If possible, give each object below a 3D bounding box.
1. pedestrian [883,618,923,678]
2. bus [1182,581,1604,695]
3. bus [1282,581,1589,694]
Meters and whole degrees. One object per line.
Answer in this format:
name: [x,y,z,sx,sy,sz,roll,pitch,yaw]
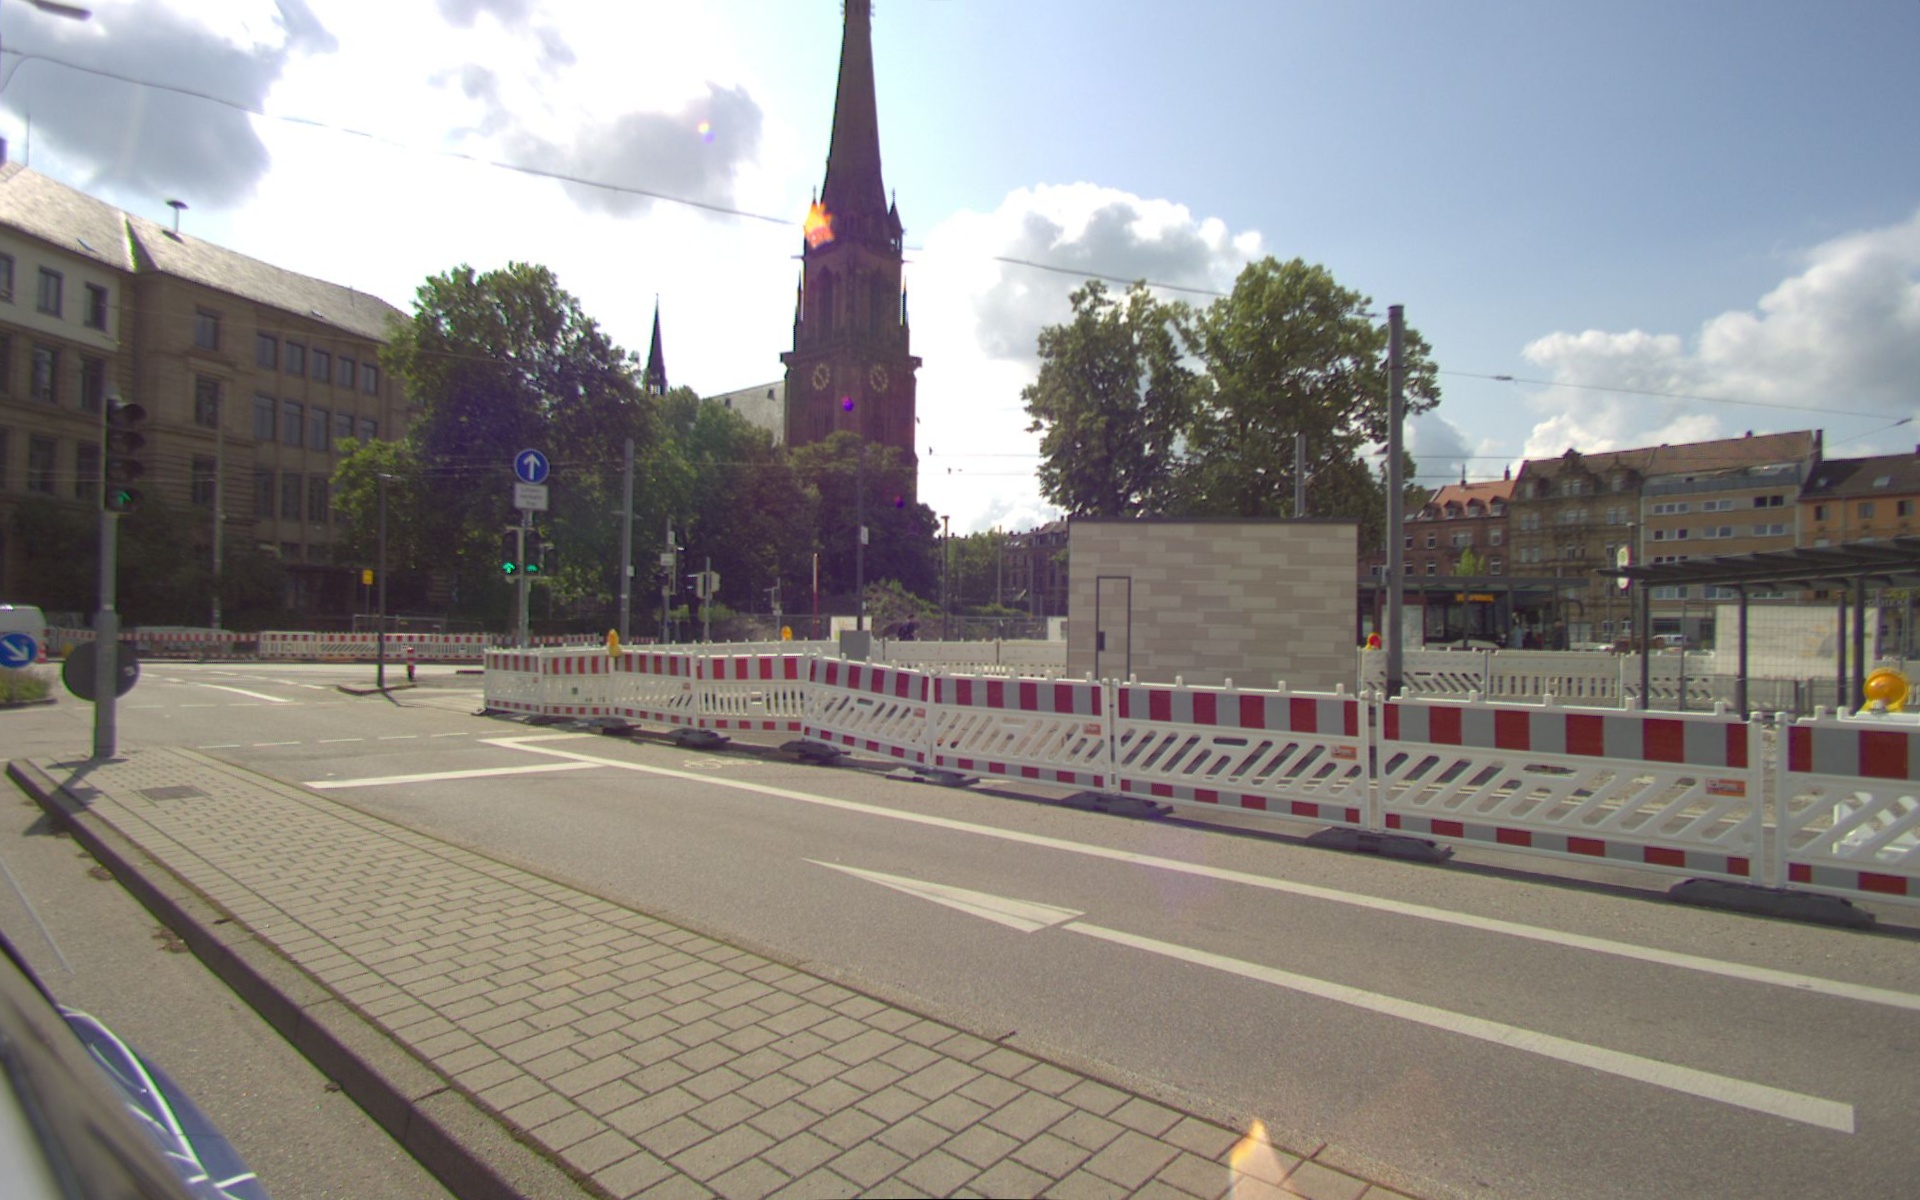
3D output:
pedestrian: [-1.656,1.392,29.723,0.834,1.719,1.202,0,-2,14]
bus: [13.319,1.161,32.236,11.930,3.287,2.987,0,-2,7]
bus: [13.619,1.056,29.533,7.670,3.081,2.369,0,-2,7]
